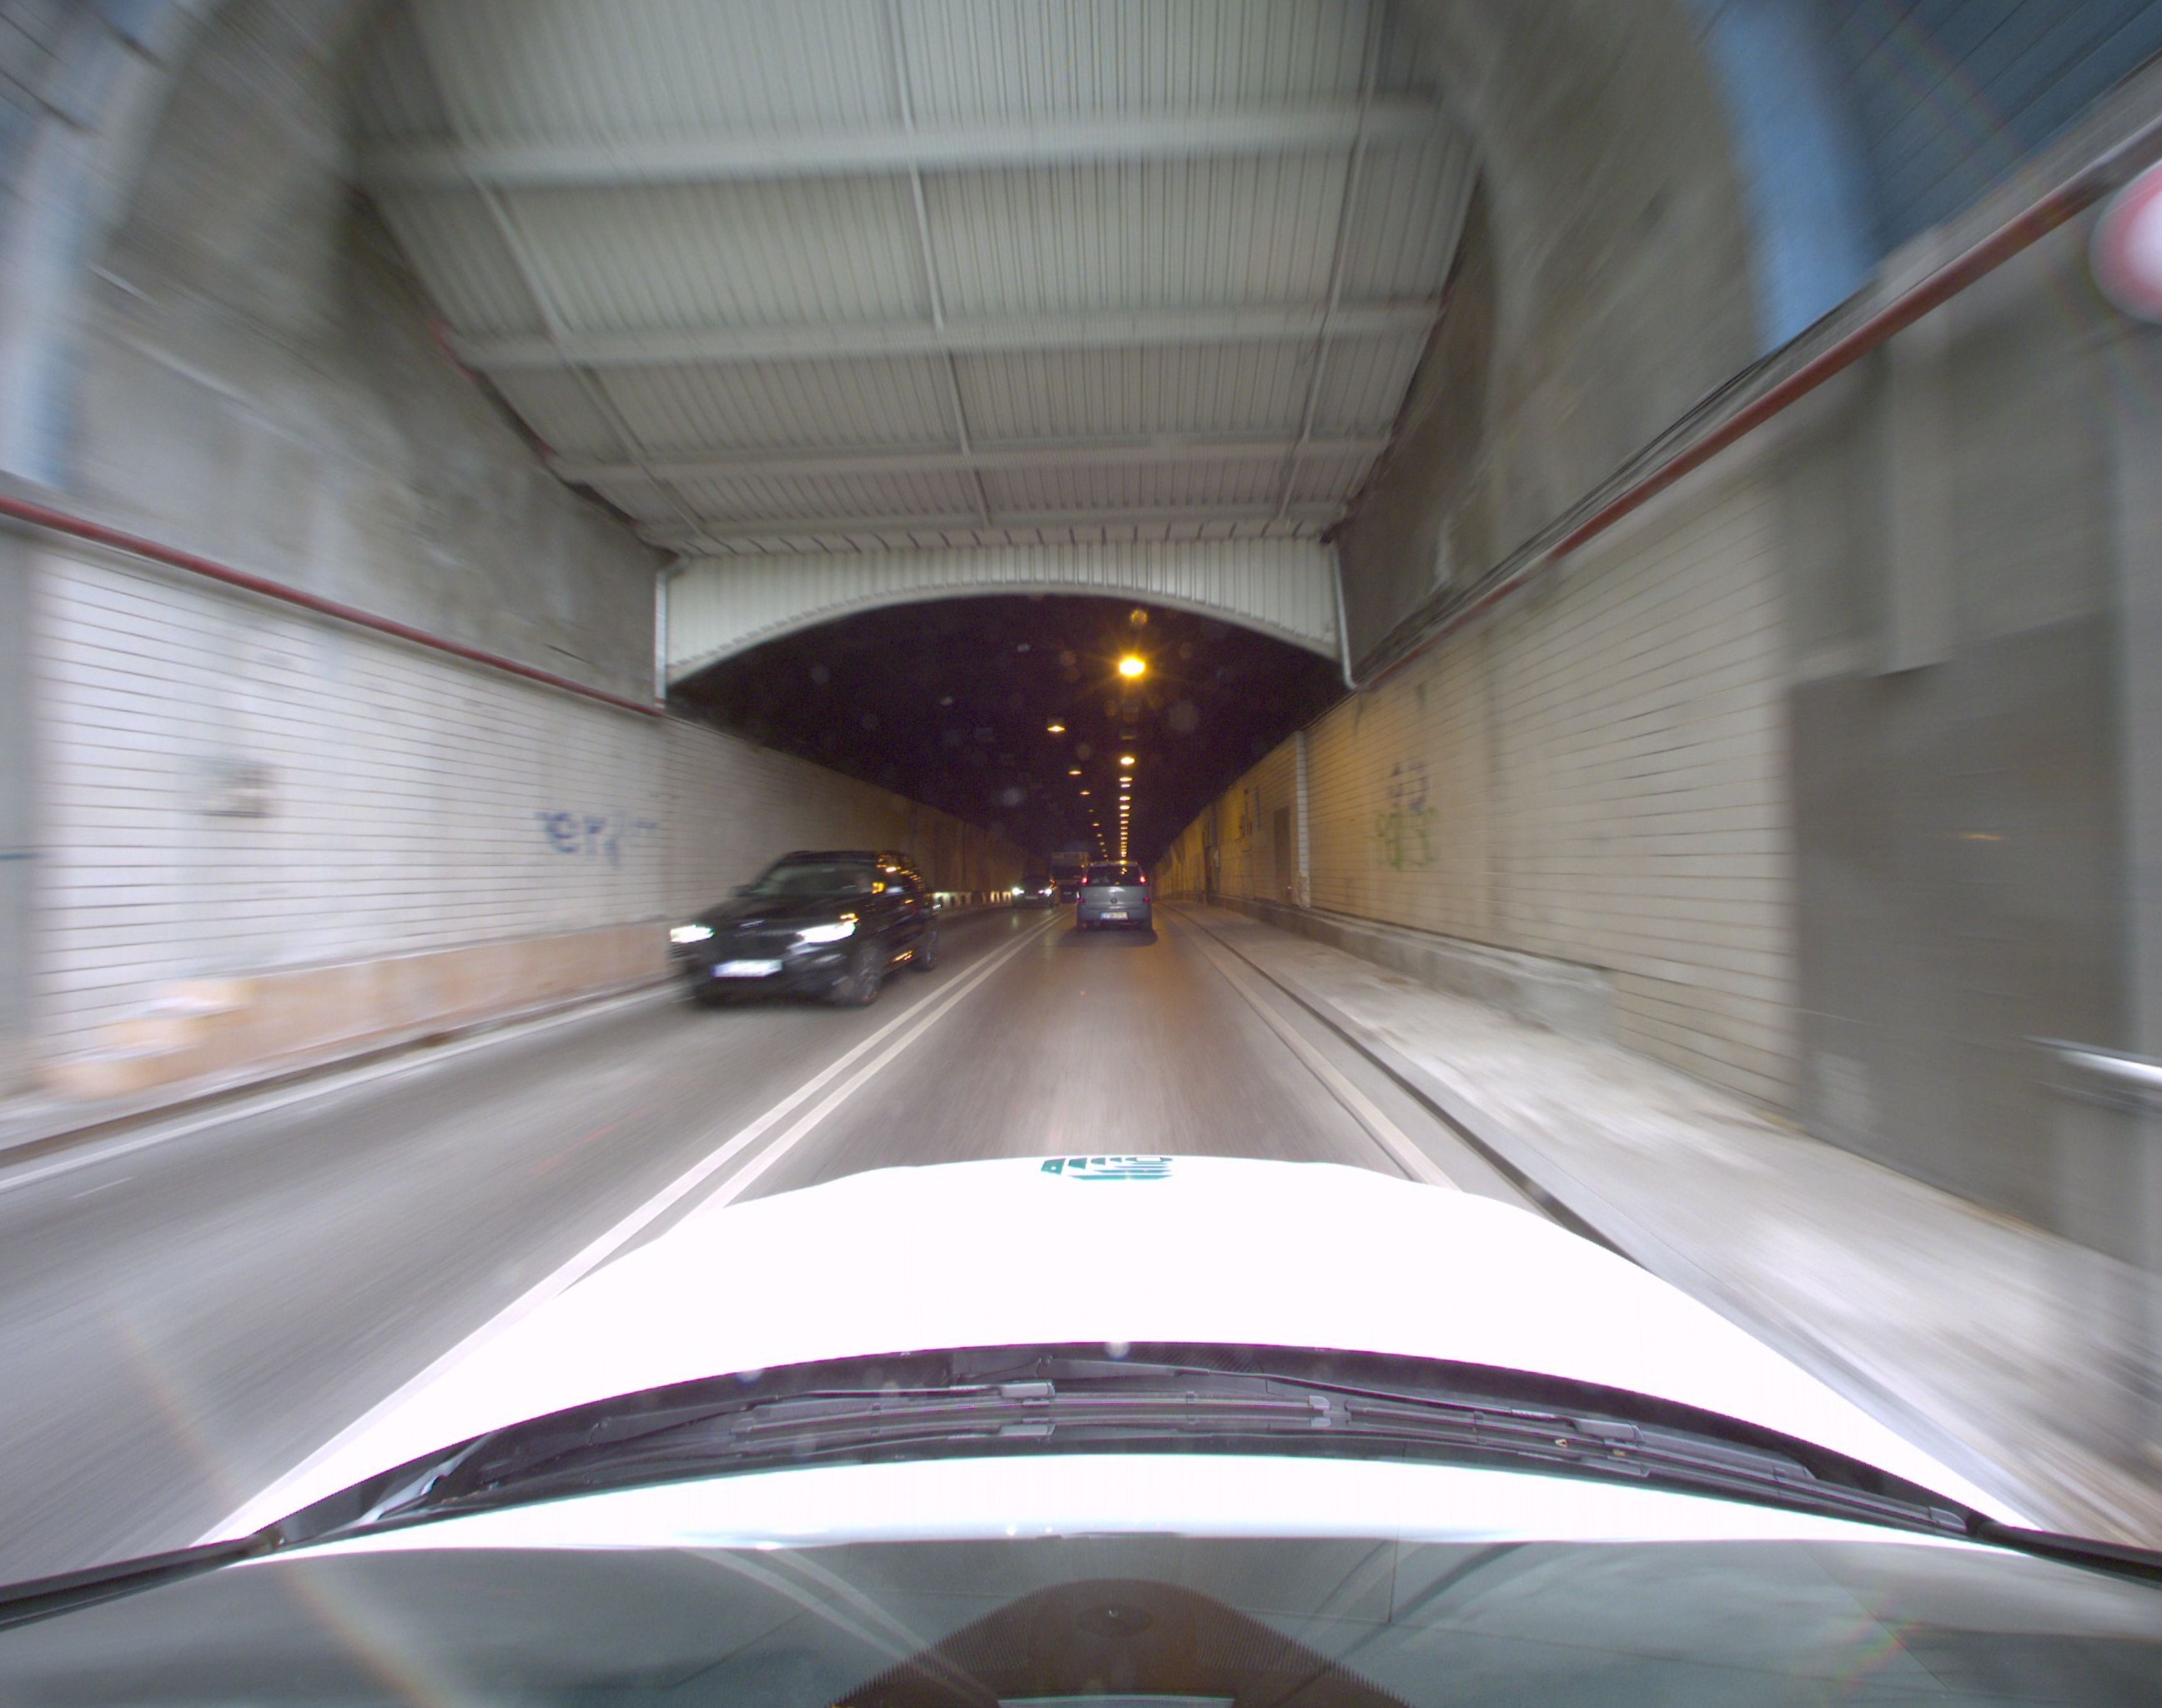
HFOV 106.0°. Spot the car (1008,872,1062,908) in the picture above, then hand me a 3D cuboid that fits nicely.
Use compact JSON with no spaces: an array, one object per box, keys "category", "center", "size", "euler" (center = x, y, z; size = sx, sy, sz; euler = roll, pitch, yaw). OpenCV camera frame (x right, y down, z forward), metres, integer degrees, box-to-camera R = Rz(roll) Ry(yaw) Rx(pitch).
[{"category":"car","center":[-1.910,1.535,35.095],"size":[1.885,1.469,4.163],"euler":[0,-2,3]}]

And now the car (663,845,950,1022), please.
[{"category":"car","center":[-3.001,0.791,10.029],"size":[1.871,1.676,4.379],"euler":[-1,-1,2]}]

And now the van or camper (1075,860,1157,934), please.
[{"category":"van or camper","center":[0.799,0.941,19.292],"size":[1.729,1.578,3.647],"euler":[-1,-1,1]}]

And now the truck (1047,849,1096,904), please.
[{"category":"truck","center":[-0.580,1.774,59.466],"size":[2.800,3.717,7.554],"euler":[-1,-3,5]}]
